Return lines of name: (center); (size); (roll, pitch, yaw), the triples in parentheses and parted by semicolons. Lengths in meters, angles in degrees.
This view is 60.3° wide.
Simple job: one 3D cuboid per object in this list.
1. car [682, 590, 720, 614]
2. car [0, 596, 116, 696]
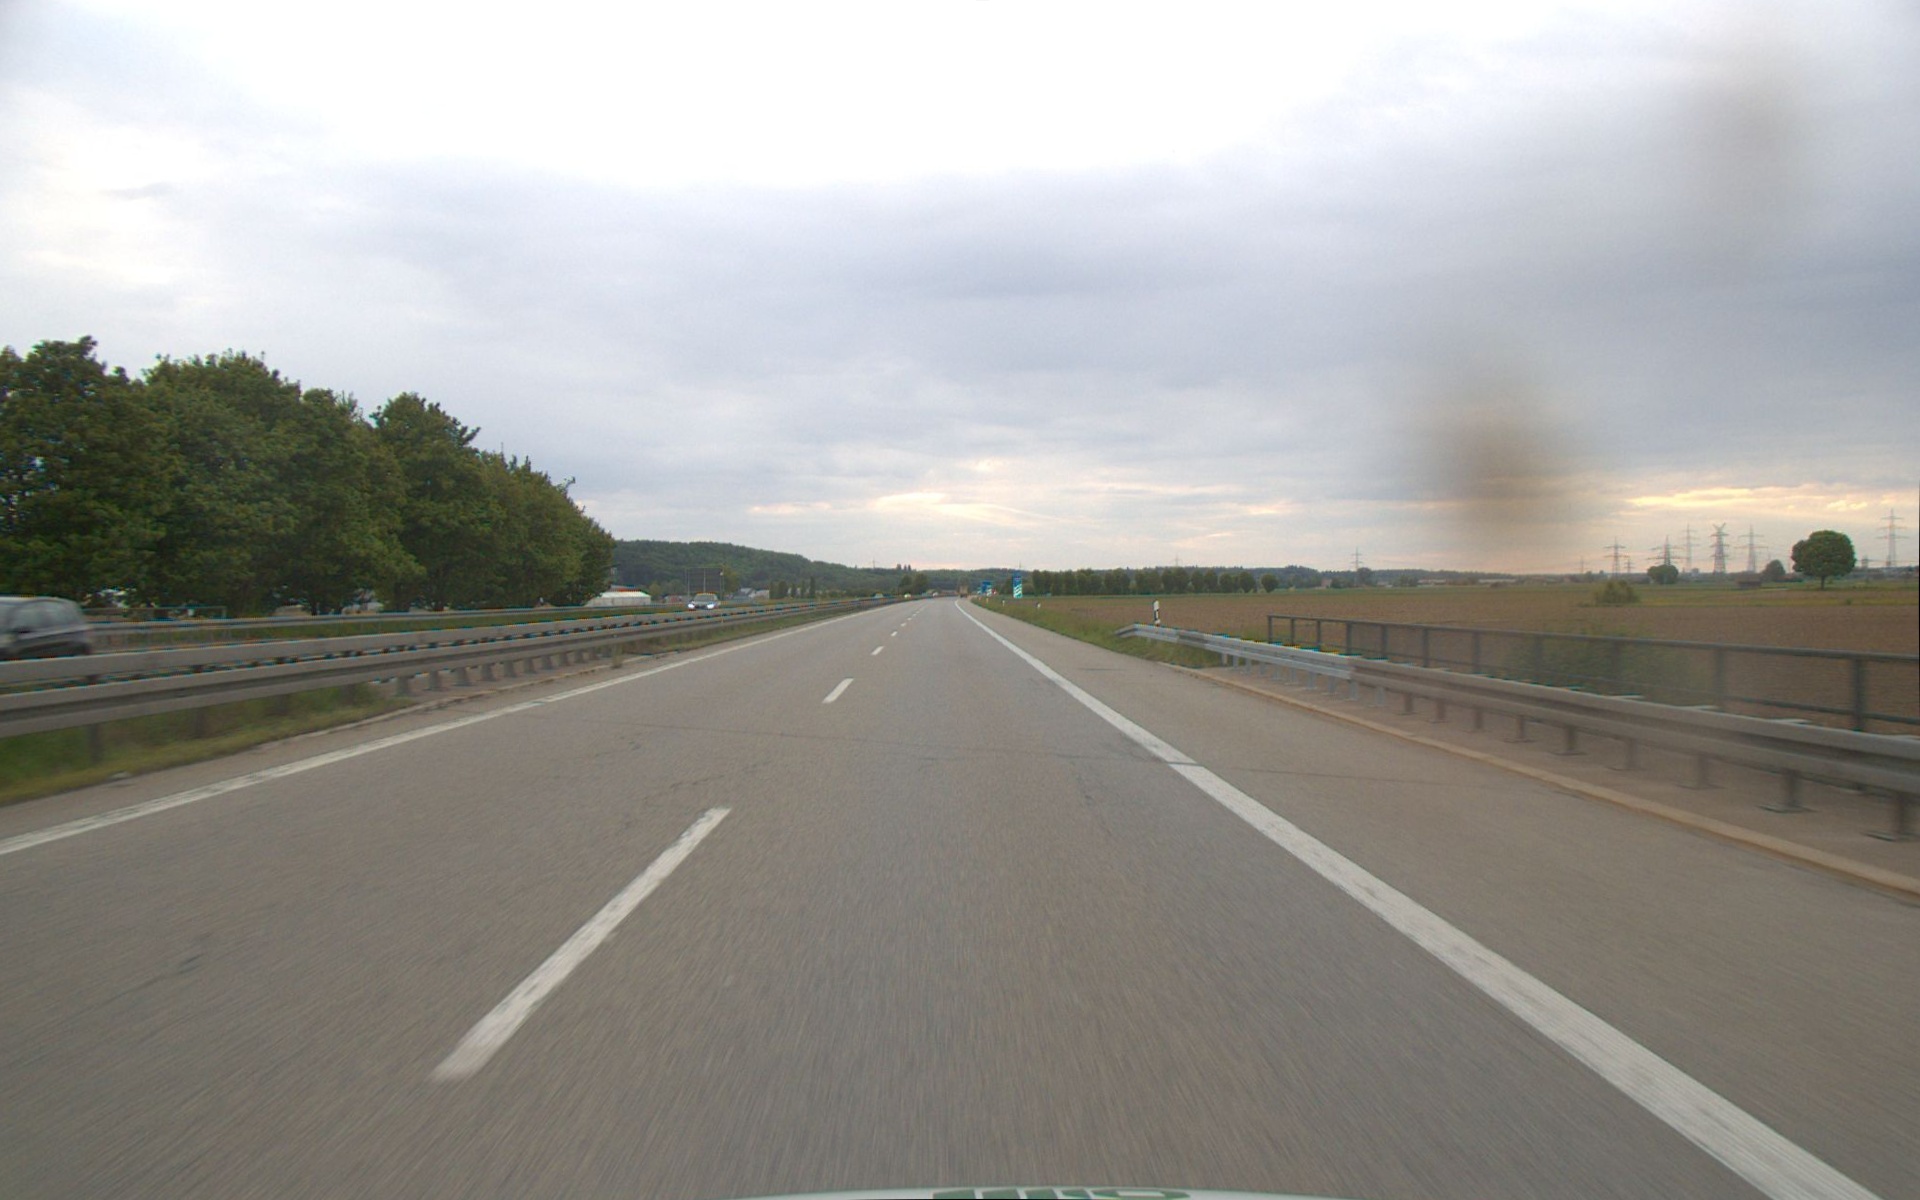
car: (-18.081, 0.164, 115.695); (1.953, 1.610, 4.808); (1, 0, -1)
car: (-16.612, 0.744, 28.558); (1.781, 1.589, 4.522); (2, 0, -1)
